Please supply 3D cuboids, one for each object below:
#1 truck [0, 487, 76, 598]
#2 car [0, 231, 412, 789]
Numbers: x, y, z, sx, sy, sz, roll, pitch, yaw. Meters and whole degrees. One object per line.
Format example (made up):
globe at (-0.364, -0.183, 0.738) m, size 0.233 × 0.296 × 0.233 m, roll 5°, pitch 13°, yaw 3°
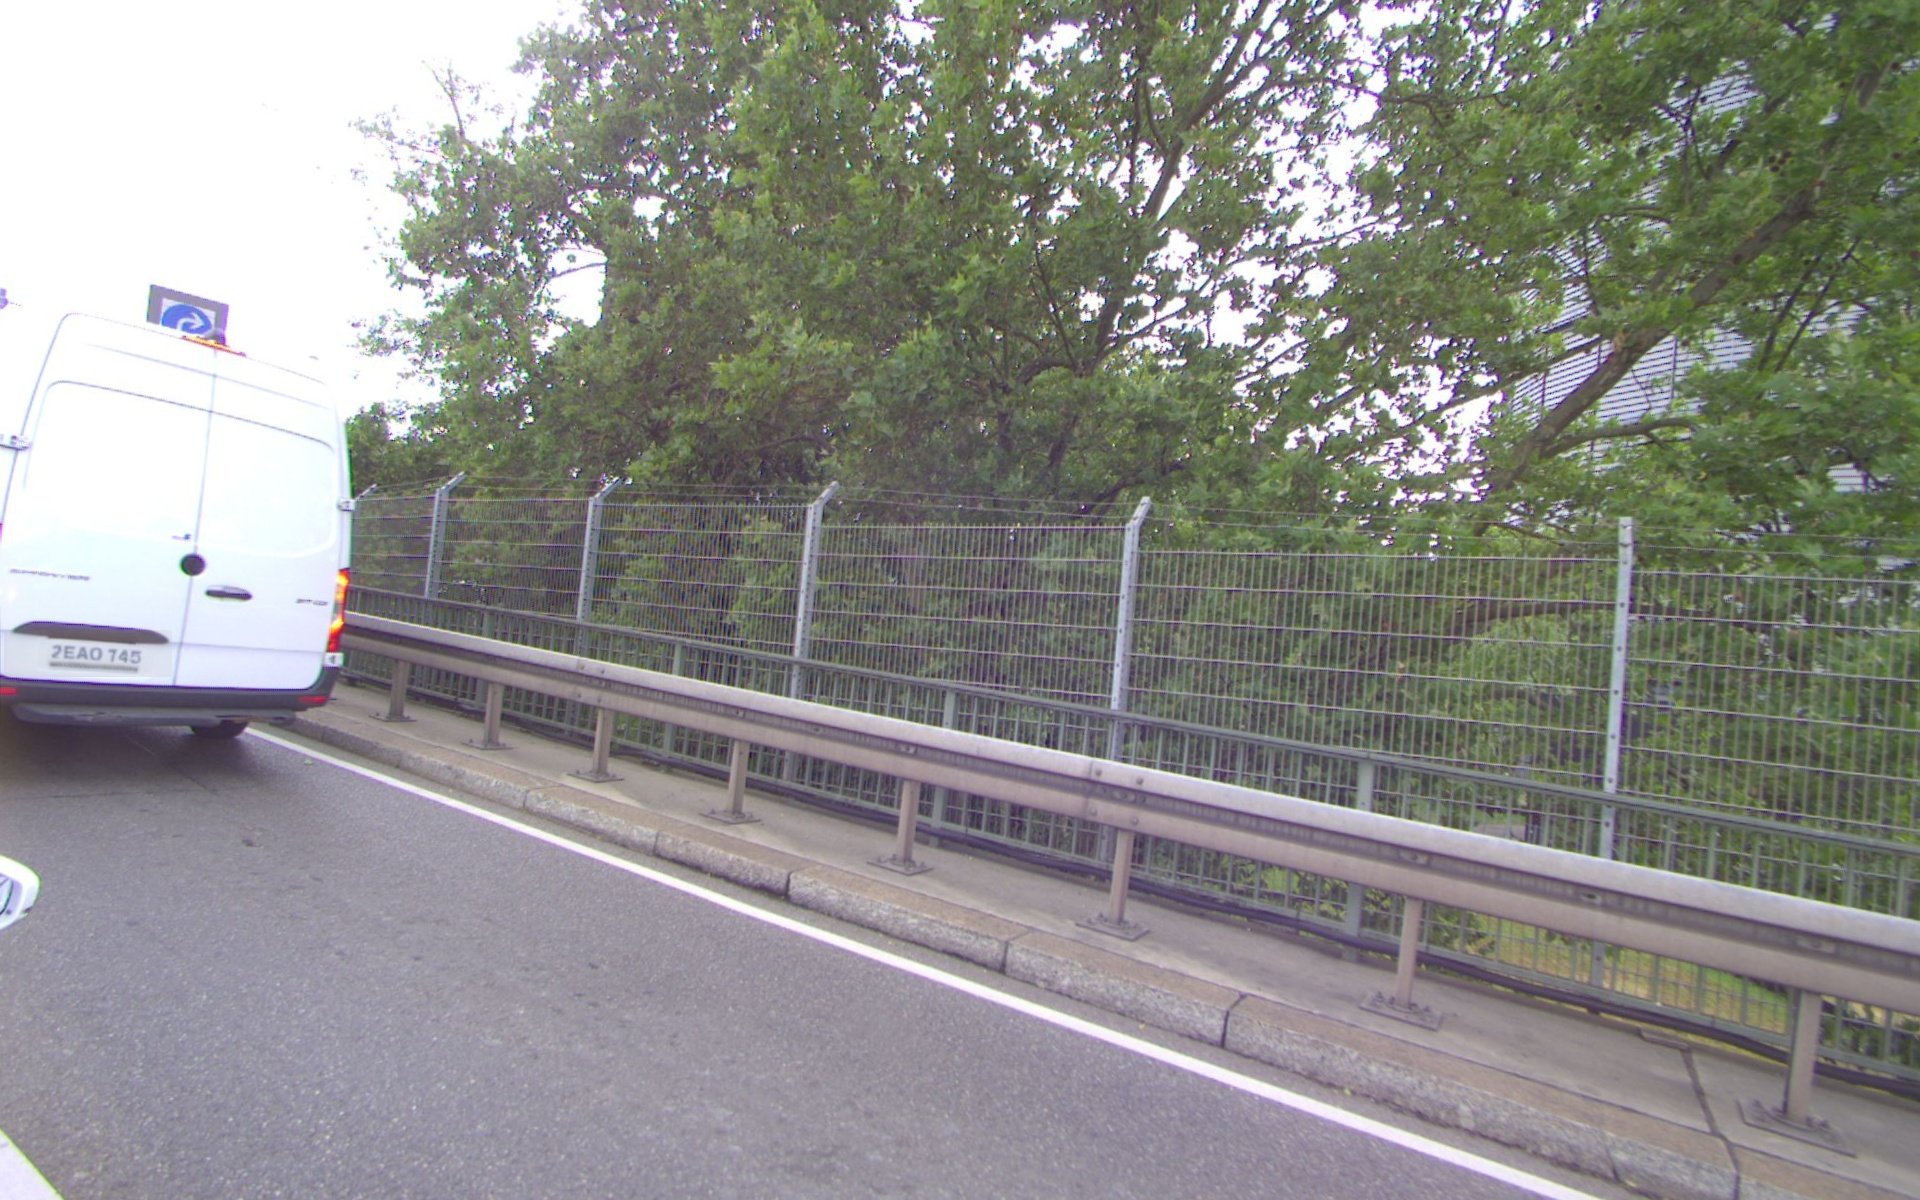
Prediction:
truck at (-36.284, -2.553, 33.462) m, size 10.076 × 3.560 × 2.794 m, roll 8°, pitch 0°, yaw -9°
car at (-7.214, -0.695, 7.679) m, size 6.668 × 2.817 × 2.113 m, roll 7°, pitch 0°, yaw 32°
